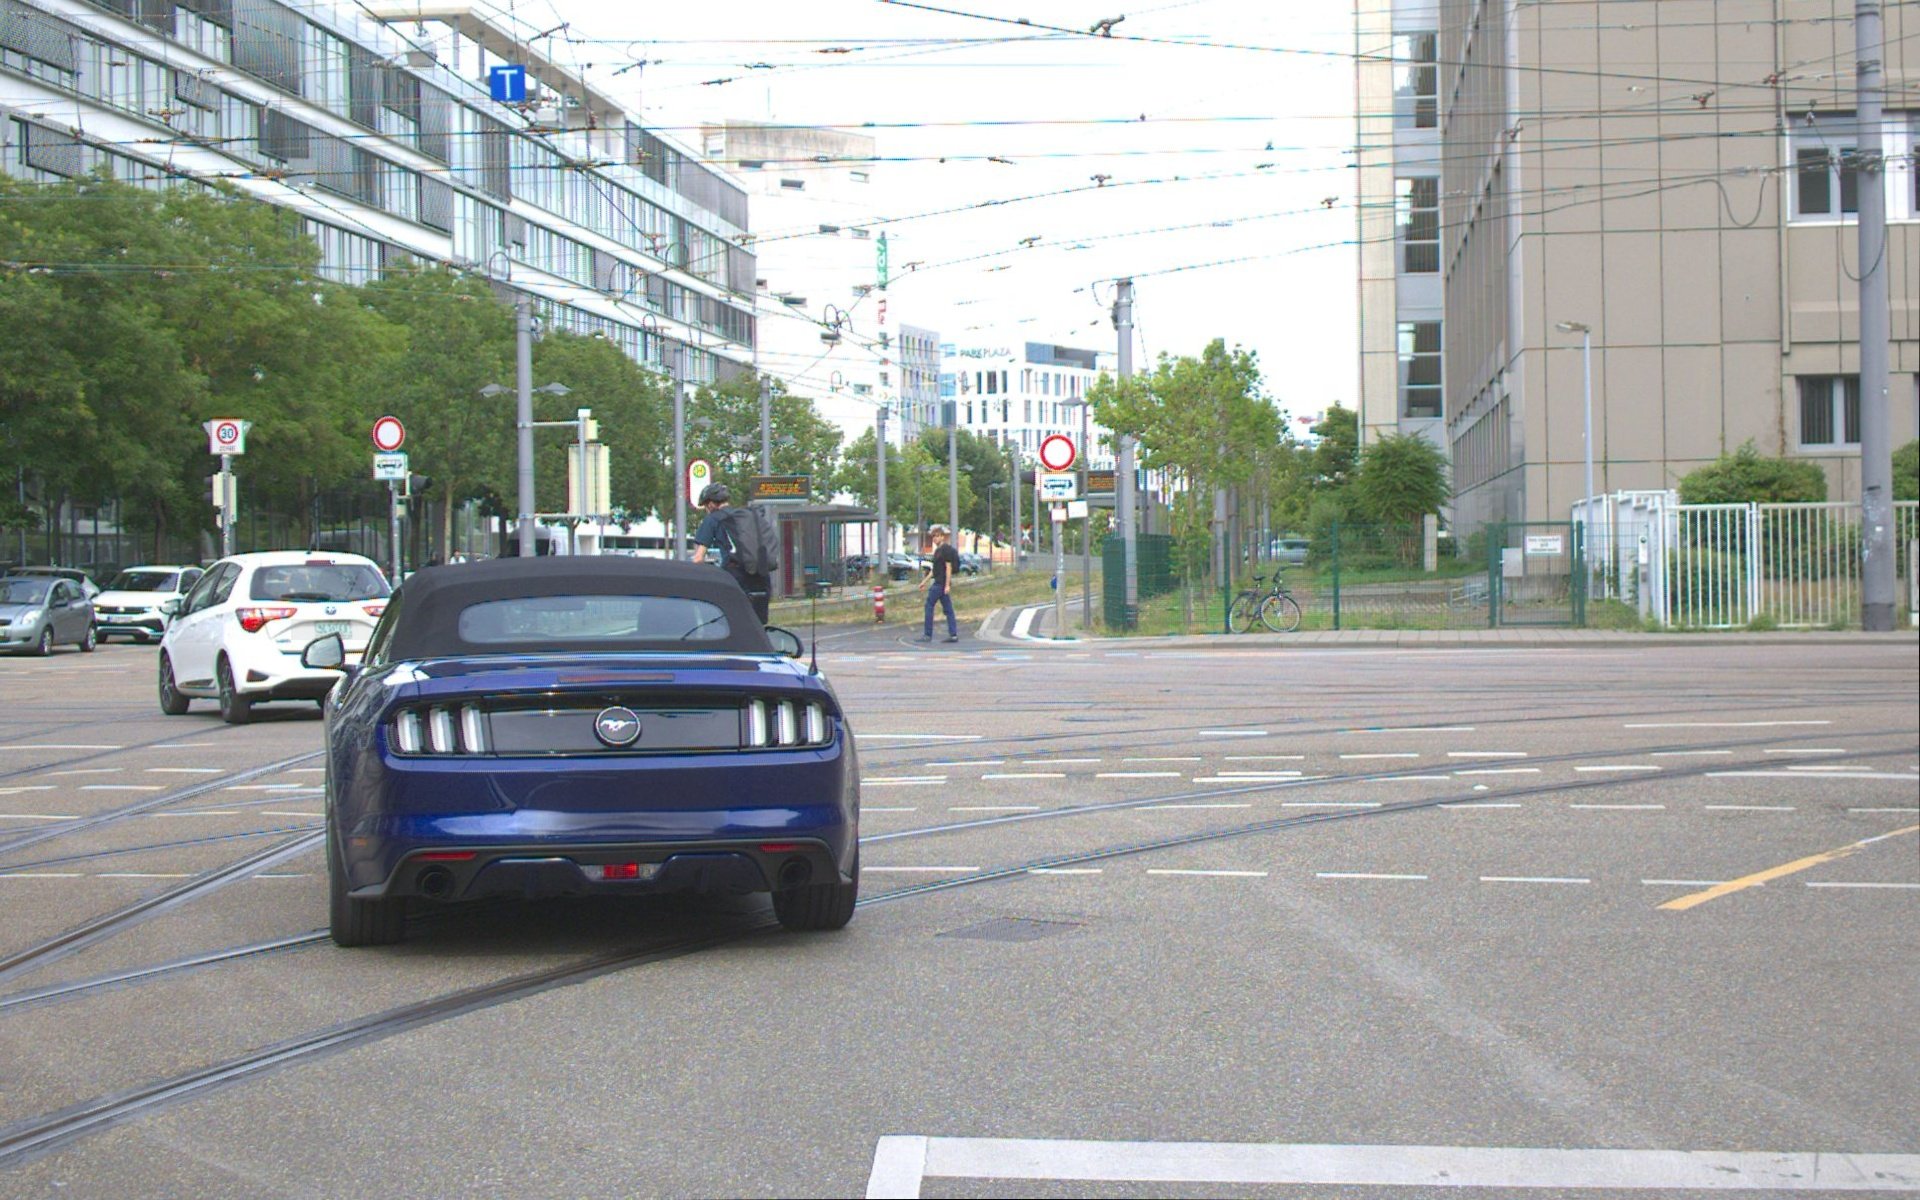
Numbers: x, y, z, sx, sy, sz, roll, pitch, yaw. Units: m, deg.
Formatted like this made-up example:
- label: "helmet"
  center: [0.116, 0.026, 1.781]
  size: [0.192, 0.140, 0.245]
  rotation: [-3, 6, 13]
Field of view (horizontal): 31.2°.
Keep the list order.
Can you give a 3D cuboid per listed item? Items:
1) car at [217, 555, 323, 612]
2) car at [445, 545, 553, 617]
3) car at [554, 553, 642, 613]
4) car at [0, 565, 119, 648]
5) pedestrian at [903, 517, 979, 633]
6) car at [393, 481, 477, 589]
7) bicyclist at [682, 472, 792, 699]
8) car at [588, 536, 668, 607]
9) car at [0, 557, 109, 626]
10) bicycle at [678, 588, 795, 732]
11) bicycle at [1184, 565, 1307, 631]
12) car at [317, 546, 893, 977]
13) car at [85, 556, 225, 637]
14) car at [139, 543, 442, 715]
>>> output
- label: "car"
  center: [-20.105, -0.497, 100.291]
  size: [1.986, 1.551, 4.512]
  rotation: [1, 1, 3]
- label: "car"
  center: [-10.814, -0.466, 80.944]
  size: [1.879, 1.623, 4.087]
  rotation: [-1, 1, 1]
- label: "car"
  center: [-9.938, -0.486, 94.577]
  size: [1.868, 1.600, 4.213]
  rotation: [-1, 1, 1]
- label: "car"
  center: [-17.902, 0.103, 66.902]
  size: [1.668, 1.501, 4.234]
  rotation: [1, 1, 5]
- label: "pedestrian"
  center: [-0.312, -0.413, 56.969]
  size: [1.086, 1.891, 0.901]
  rotation: [-1, 1, 11]
- label: "car"
  center: [-18.205, -2.257, 119.419]
  size: [1.986, 3.624, 4.512]
  rotation: [1, 1, 3]
- label: "bicyclist"
  center: [-1.788, -0.120, 27.693]
  size: [0.796, 1.779, 1.233]
  rotation: [-1, 1, -1]
- label: "car"
  center: [-9.588, -0.833, 99.445]
  size: [1.785, 1.980, 4.121]
  rotation: [-1, 1, 1]
- label: "car"
  center: [-22.002, -0.219, 82.334]
  size: [1.830, 1.551, 4.216]
  rotation: [1, 1, 5]
- label: "bicycle"
  center: [-1.777, 0.458, 27.602]
  size: [0.800, 1.083, 2.132]
  rotation: [-1, 1, -1]
- label: "bicycle"
  center: [4.653, -0.024, 56.159]
  size: [0.632, 0.977, 2.157]
  rotation: [-1, -1, -40]
- label: "car"
  center: [-1.521, 0.500, 13.428]
  size: [1.875, 1.399, 4.283]
  rotation: [1, 1, -10]
- label: "car"
  center: [-17.404, -0.094, 74.489]
  size: [1.715, 1.654, 4.132]
  rotation: [1, 1, 5]
- label: "car"
  center: [-6.205, 0.229, 31.520]
  size: [1.835, 1.434, 4.188]
  rotation: [-1, 1, -24]
